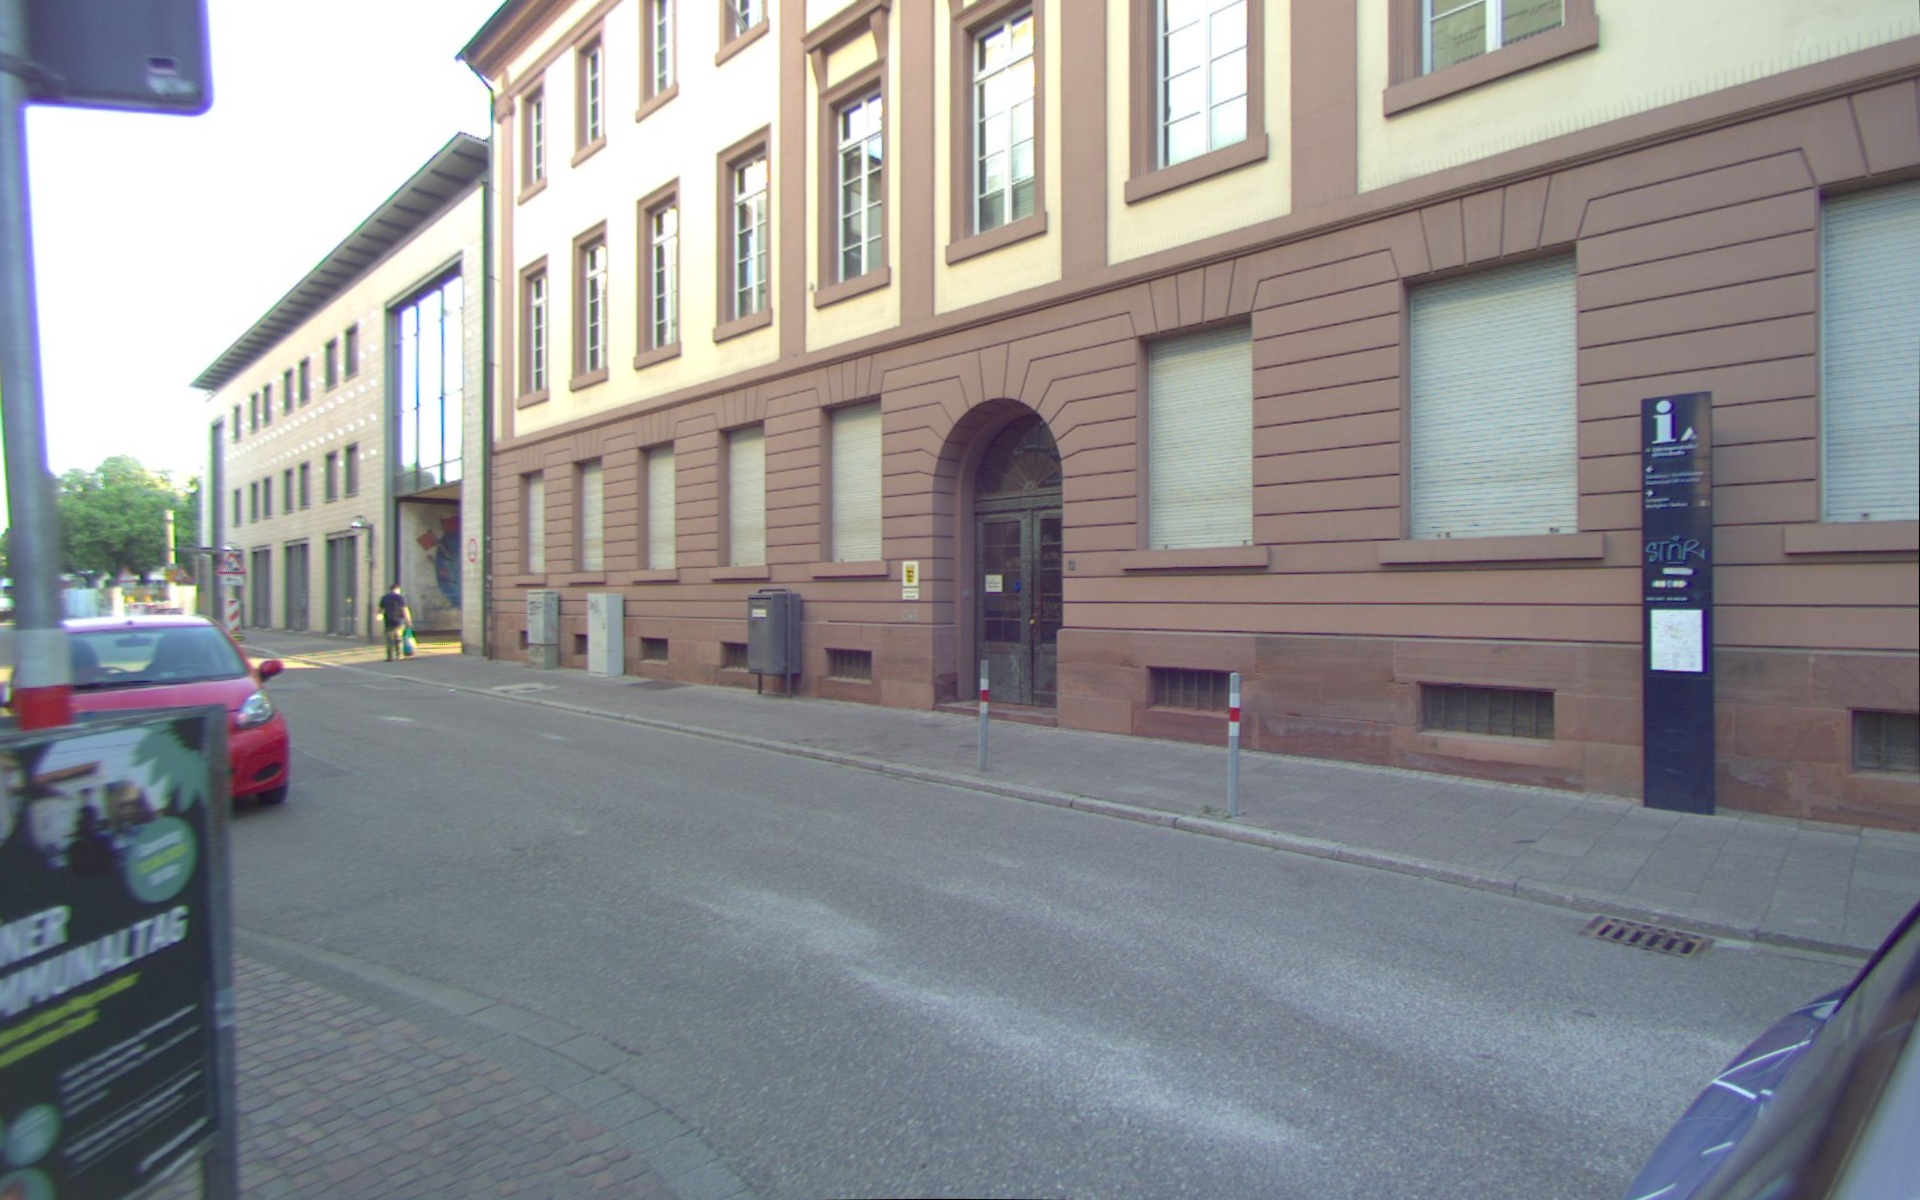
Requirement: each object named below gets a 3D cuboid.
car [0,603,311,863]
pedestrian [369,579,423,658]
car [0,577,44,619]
[{"bbox_3d":[-6.561,0.798,8.033,1.623,1.460,3.990,-4,2,-43],"label":"car"},{"bbox_3d":[-13.184,0.417,23.661,0.914,1.801,0.938,0,0,-43],"label":"pedestrian"},{"bbox_3d":[-52.964,-0.126,56.988,1.907,2.334,3.993,0,0,-41],"label":"car"}]
